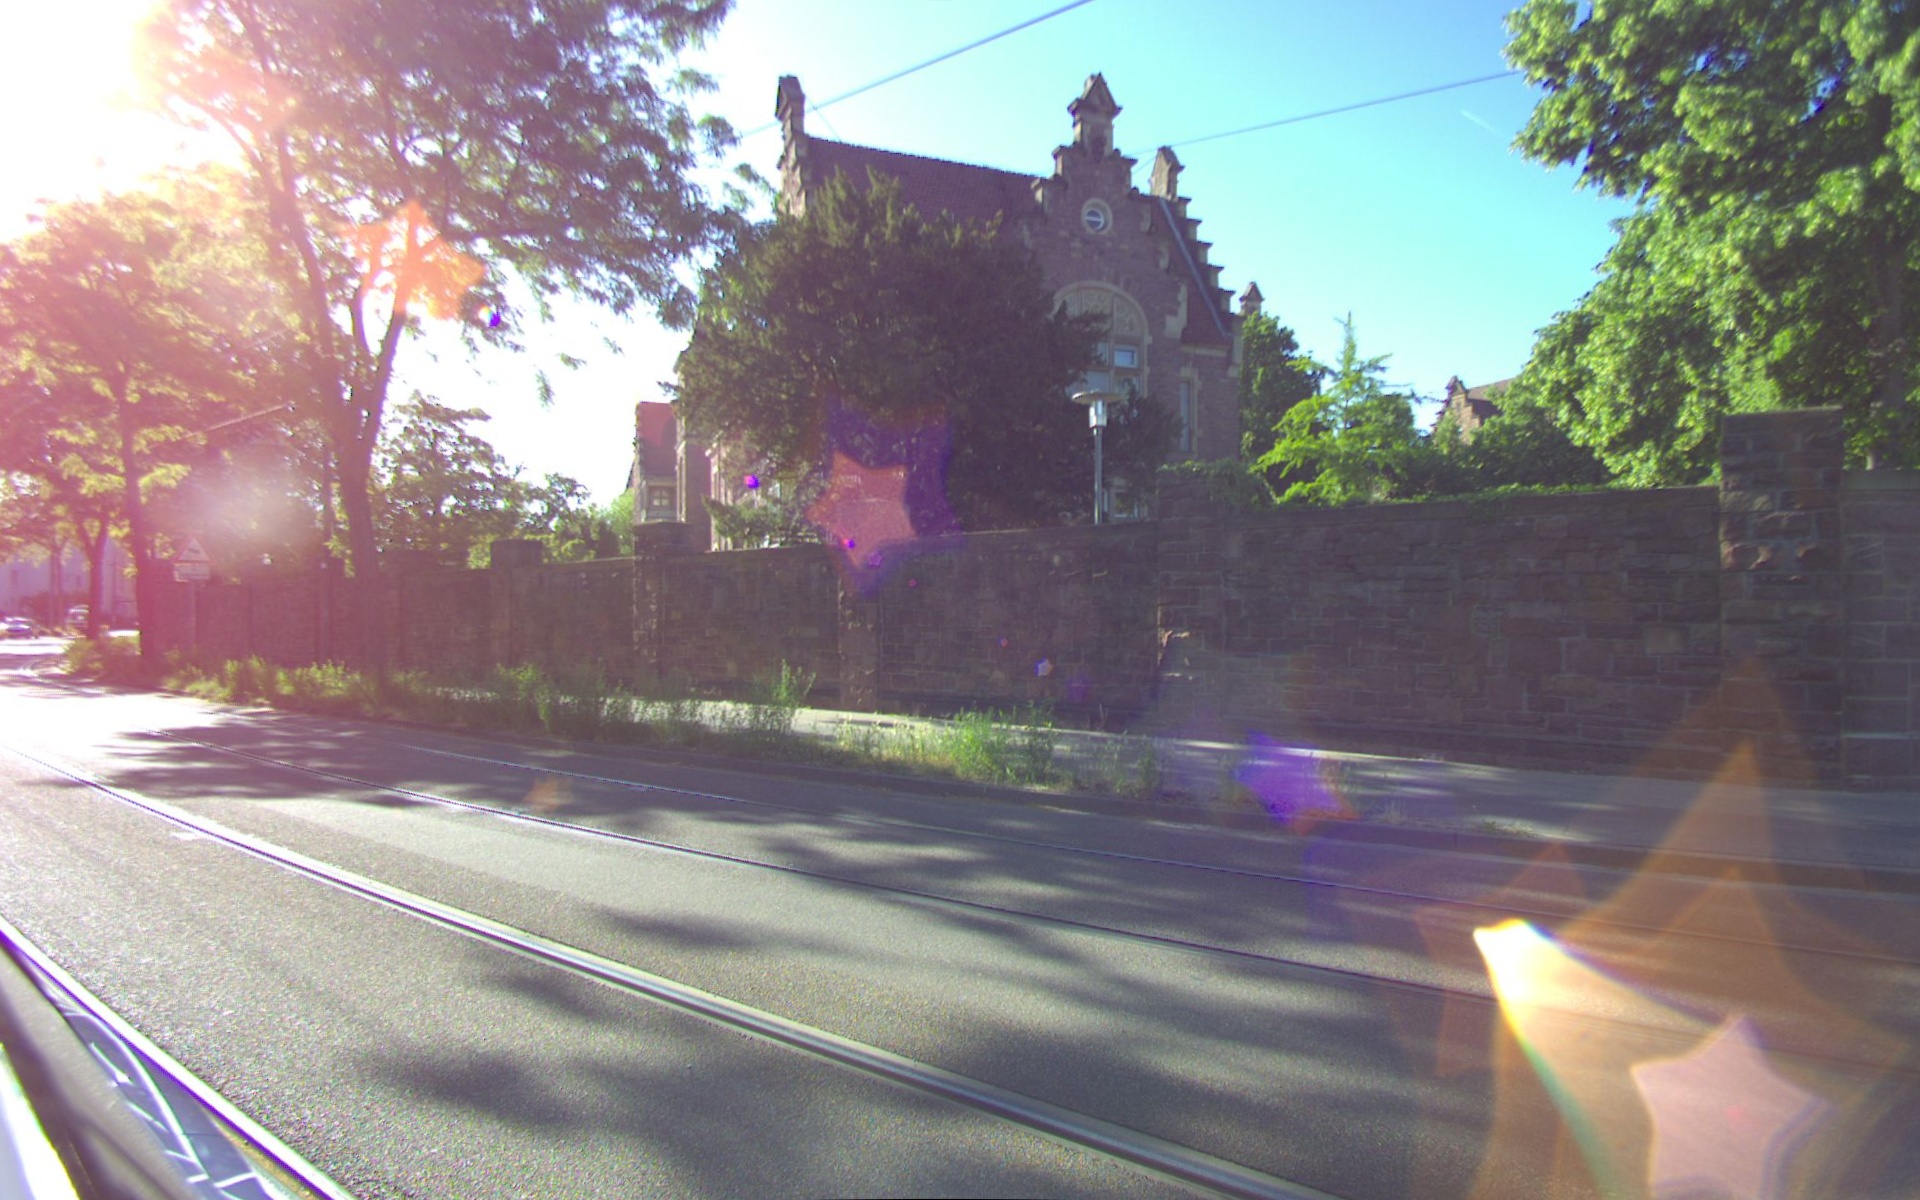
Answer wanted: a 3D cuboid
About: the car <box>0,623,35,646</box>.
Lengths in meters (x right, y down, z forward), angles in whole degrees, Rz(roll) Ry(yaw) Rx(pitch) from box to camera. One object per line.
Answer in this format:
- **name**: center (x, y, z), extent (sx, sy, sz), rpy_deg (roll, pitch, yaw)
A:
- **car**: center (-68.902, 2.509, 73.841), extent (1.969, 1.560, 4.005), rpy_deg (0, -1, -41)
